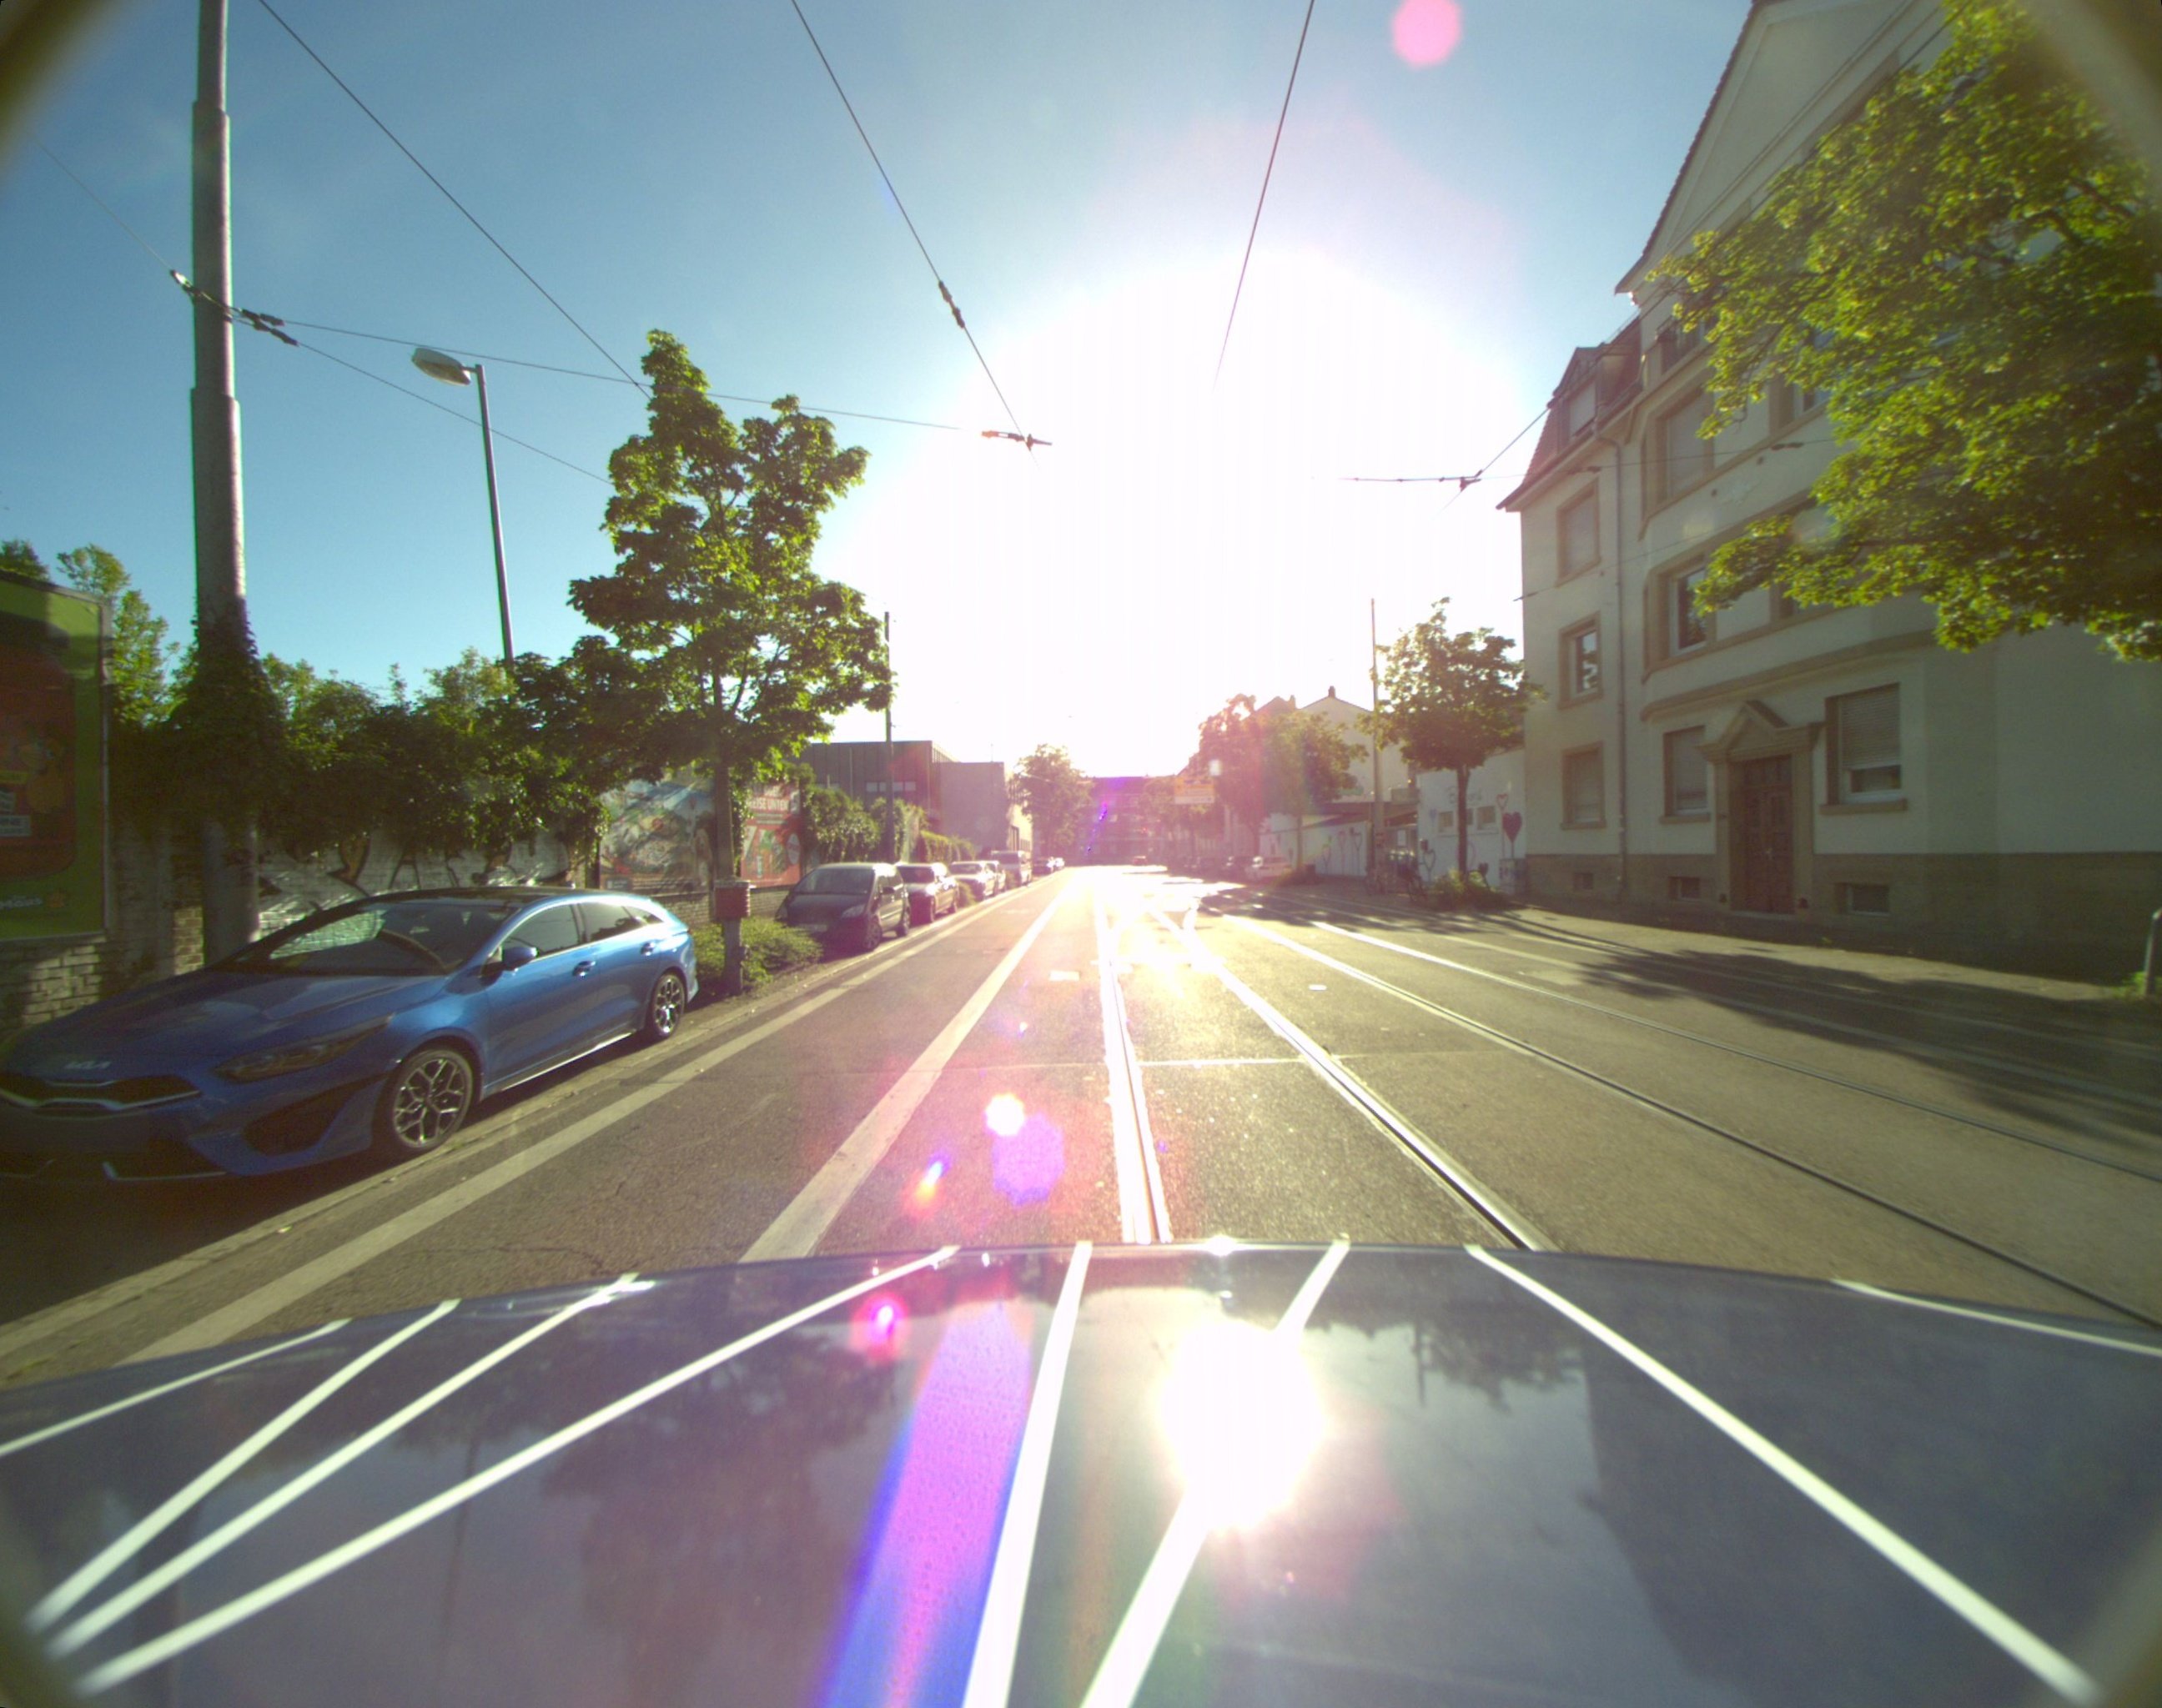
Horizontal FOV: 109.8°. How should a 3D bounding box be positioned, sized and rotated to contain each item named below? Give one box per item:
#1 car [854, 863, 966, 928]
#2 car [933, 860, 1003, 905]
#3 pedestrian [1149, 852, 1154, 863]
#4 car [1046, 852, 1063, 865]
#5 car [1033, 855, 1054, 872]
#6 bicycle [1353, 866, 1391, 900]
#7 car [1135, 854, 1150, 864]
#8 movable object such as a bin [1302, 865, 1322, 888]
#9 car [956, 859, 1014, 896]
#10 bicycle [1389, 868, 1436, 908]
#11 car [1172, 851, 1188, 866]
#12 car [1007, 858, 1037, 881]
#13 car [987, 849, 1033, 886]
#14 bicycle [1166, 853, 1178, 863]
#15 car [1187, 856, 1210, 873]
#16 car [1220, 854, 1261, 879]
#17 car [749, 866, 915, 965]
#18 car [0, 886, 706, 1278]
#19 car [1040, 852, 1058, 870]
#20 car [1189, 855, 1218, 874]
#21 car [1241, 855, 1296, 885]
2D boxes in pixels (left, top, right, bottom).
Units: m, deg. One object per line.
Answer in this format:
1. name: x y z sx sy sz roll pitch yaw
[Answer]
1. car: -4.452 1.021 20.491 1.828 1.443 4.642 -1 0 2
2. car: -4.218 1.018 29.083 1.828 1.476 4.601 -2 0 2
3. pedestrian: 11.527 0.508 124.118 0.640 1.764 0.584 -2 1 1
4. car: -2.987 0.531 86.832 1.716 1.481 4.624 0 -1 1
5. car: -3.565 0.916 73.303 1.706 1.473 4.658 2 0 1
6. bicycle: 9.904 0.965 25.810 0.667 1.034 1.790 -1 1 39
7. car: 9.106 0.759 113.073 1.770 1.455 4.746 0 0 0
8. movable object such as a bin: 10.346 0.987 34.000 0.583 0.954 0.702 -6 1 1
9. car: -4.367 1.039 35.182 1.877 1.464 4.076 -2 0 3
10. bicycle: 9.663 0.978 22.095 1.991 1.034 0.531 -2 1 -44
11. car: 10.577 0.522 81.243 1.358 1.493 2.548 -2 -2 1
12. car: -3.881 1.018 50.643 1.680 1.409 4.502 1 0 -1
13. car: -3.931 0.700 42.865 1.858 1.979 5.242 -1 0 3
14. bicycle: 10.670 0.498 88.794 1.344 1.162 0.409 -2 1 2
15. car: 10.764 0.929 69.911 1.576 1.496 4.000 -2 0 1
16. car: 10.219 0.786 48.939 1.777 1.477 4.305 -2 0 1
17. car: -4.405 1.013 14.075 1.829 1.484 3.814 1 0 -1
18. car: -4.565 1.086 5.446 1.733 1.455 4.339 -2 0 -3
19. car: -3.316 0.708 79.120 1.746 1.702 4.277 -1 0 -2
20. car: 10.291 0.861 64.081 1.878 1.420 4.293 -2 0 1
21. car: 10.056 0.818 41.064 1.869 1.482 4.661 -2 0 1
